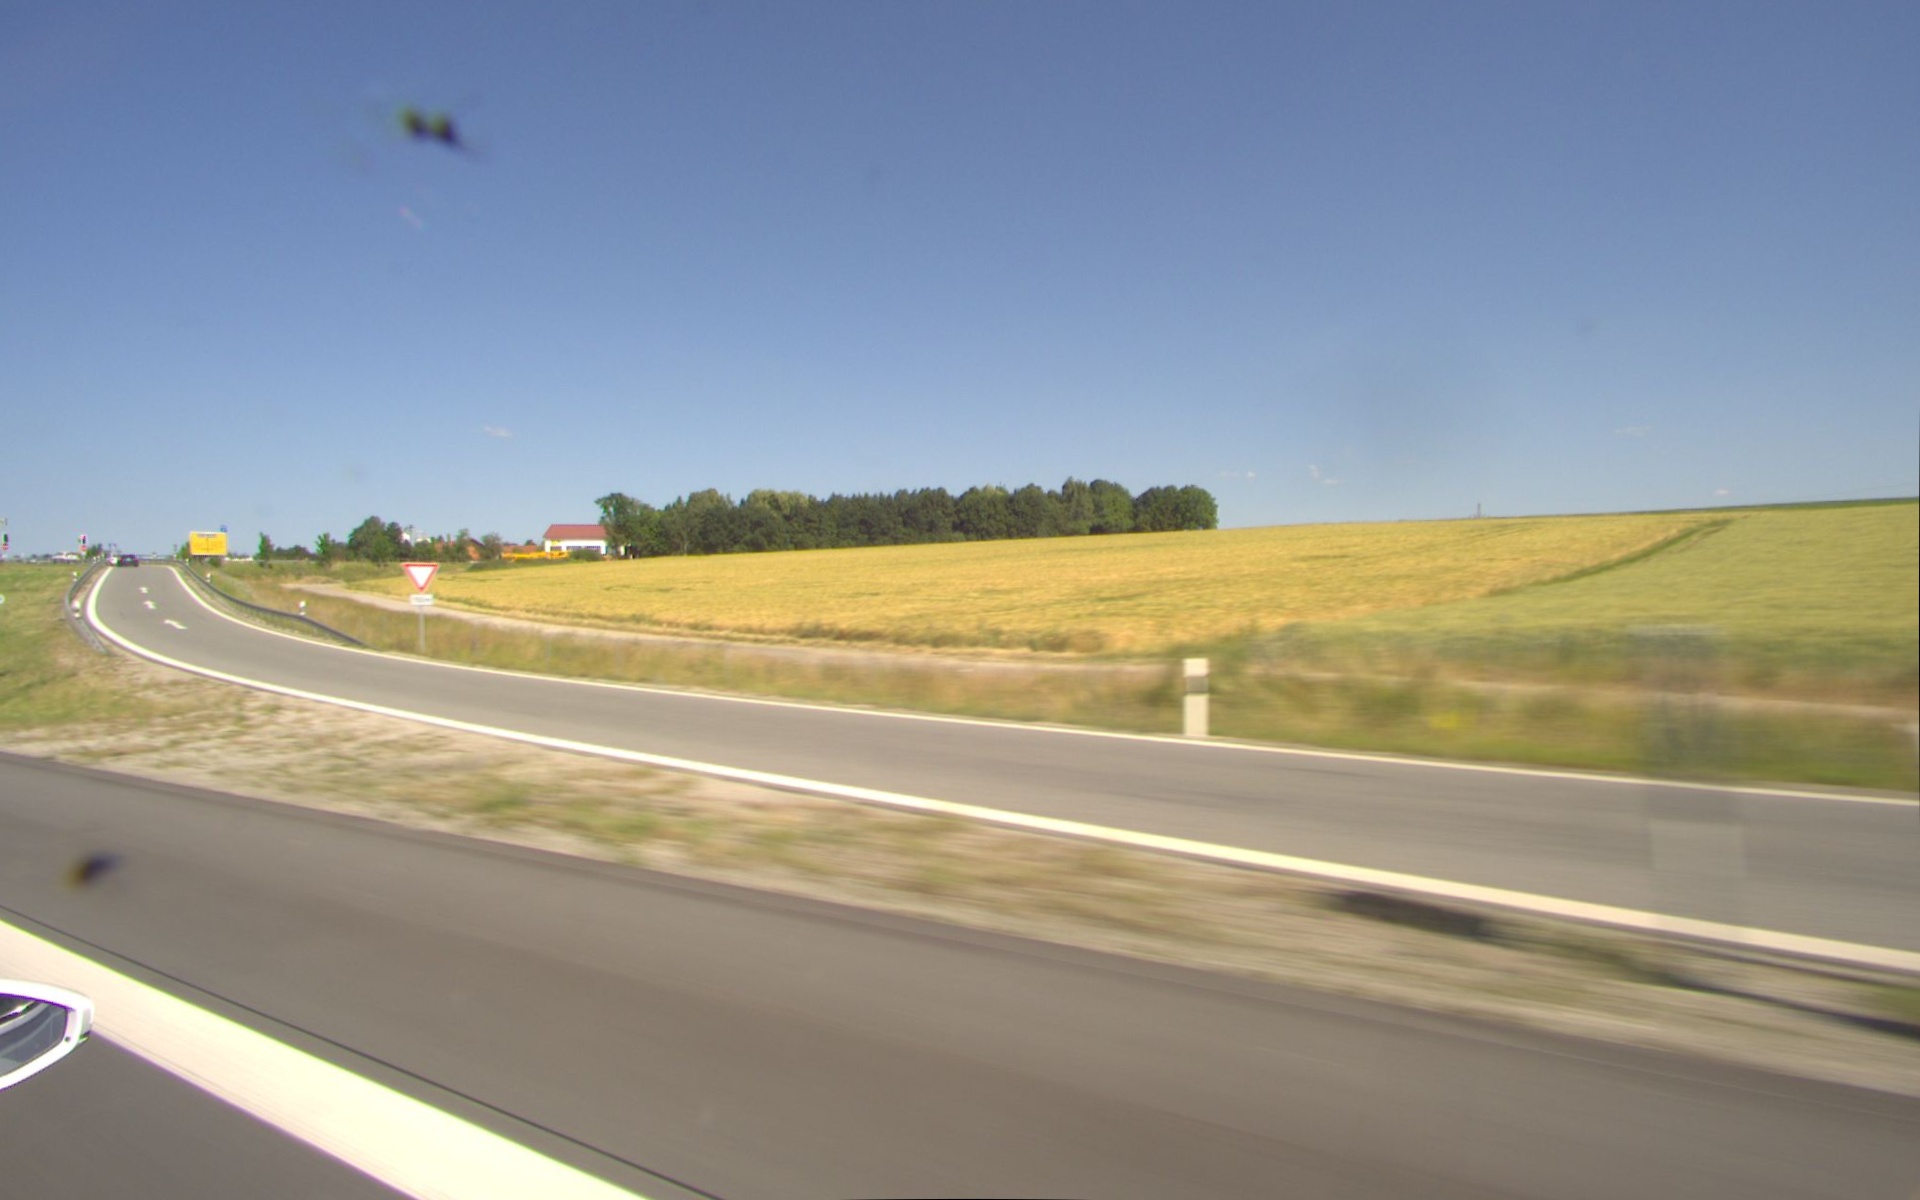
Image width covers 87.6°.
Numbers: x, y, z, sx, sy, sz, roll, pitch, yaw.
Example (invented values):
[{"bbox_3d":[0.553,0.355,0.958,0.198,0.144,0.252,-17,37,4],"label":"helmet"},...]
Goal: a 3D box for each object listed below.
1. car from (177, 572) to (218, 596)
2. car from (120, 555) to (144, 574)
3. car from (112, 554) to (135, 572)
[{"bbox_3d":[-55.642,-1.143,73.065,1.979,1.640,3.963,-3,1,-42],"label":"car"},{"bbox_3d":[-98.284,-4.183,118.917,1.979,2.041,3.963,-2,1,-42],"label":"car"},{"bbox_3d":[-103.780,-4.537,124.262,1.979,2.040,3.963,-2,1,-42],"label":"car"}]
